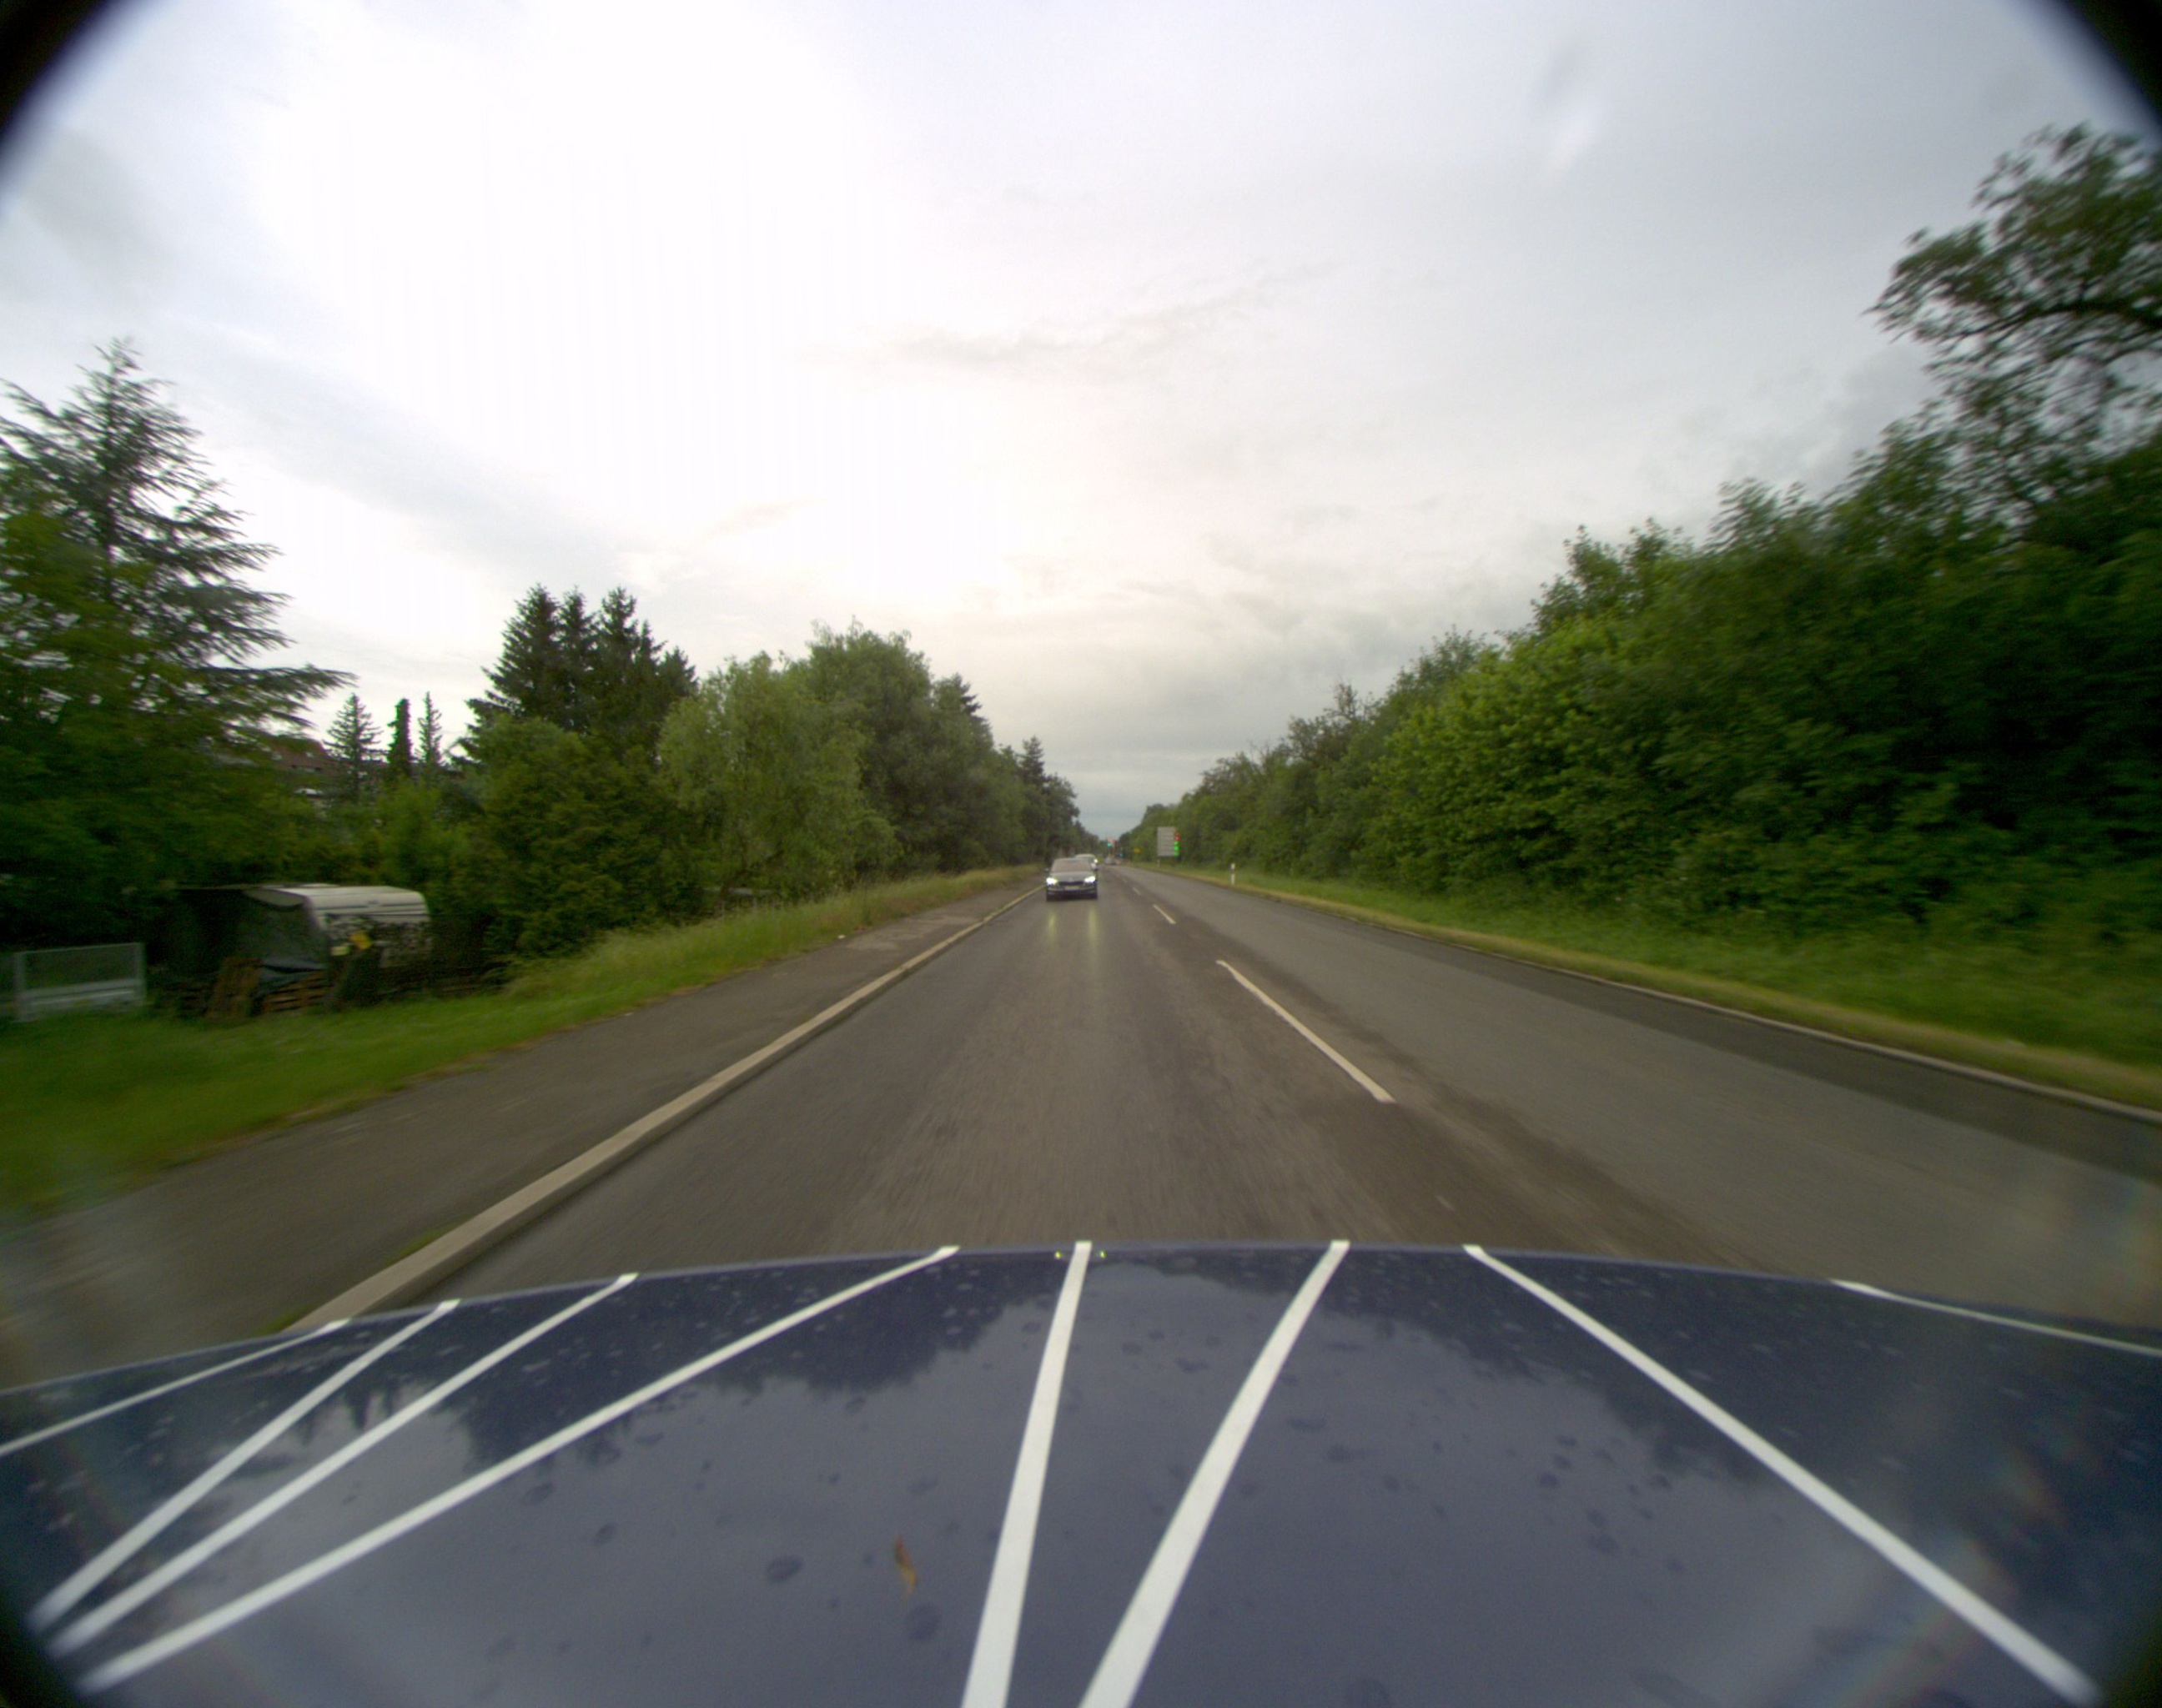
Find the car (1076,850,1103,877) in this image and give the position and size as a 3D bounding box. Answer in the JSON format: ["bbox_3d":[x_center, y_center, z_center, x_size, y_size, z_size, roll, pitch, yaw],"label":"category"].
[{"bbox_3d":[0.516,0.596,50.628,1.704,1.724,3.999,-1,1,0],"label":"car"}]

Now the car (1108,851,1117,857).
[{"bbox_3d":[7.556,0.027,180.390,1.896,1.347,4.381,-1,0,0],"label":"car"}]

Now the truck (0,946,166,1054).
[{"bbox_3d":[-17.270,2.345,12.598,2.357,1.389,1.760,-1,1,13],"label":"truck"}]

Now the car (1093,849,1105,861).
[{"bbox_3d":[2.856,0.145,119.422,1.856,1.686,4.000,0,1,2],"label":"car"}]

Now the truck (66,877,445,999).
[{"bbox_3d":[-17.982,1.774,16.648,7.056,2.345,2.068,-1,1,10],"label":"truck"}]

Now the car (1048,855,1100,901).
[{"bbox_3d":[-0.213,0.812,27.593,1.675,1.477,4.215,-3,0,1],"label":"car"}]
